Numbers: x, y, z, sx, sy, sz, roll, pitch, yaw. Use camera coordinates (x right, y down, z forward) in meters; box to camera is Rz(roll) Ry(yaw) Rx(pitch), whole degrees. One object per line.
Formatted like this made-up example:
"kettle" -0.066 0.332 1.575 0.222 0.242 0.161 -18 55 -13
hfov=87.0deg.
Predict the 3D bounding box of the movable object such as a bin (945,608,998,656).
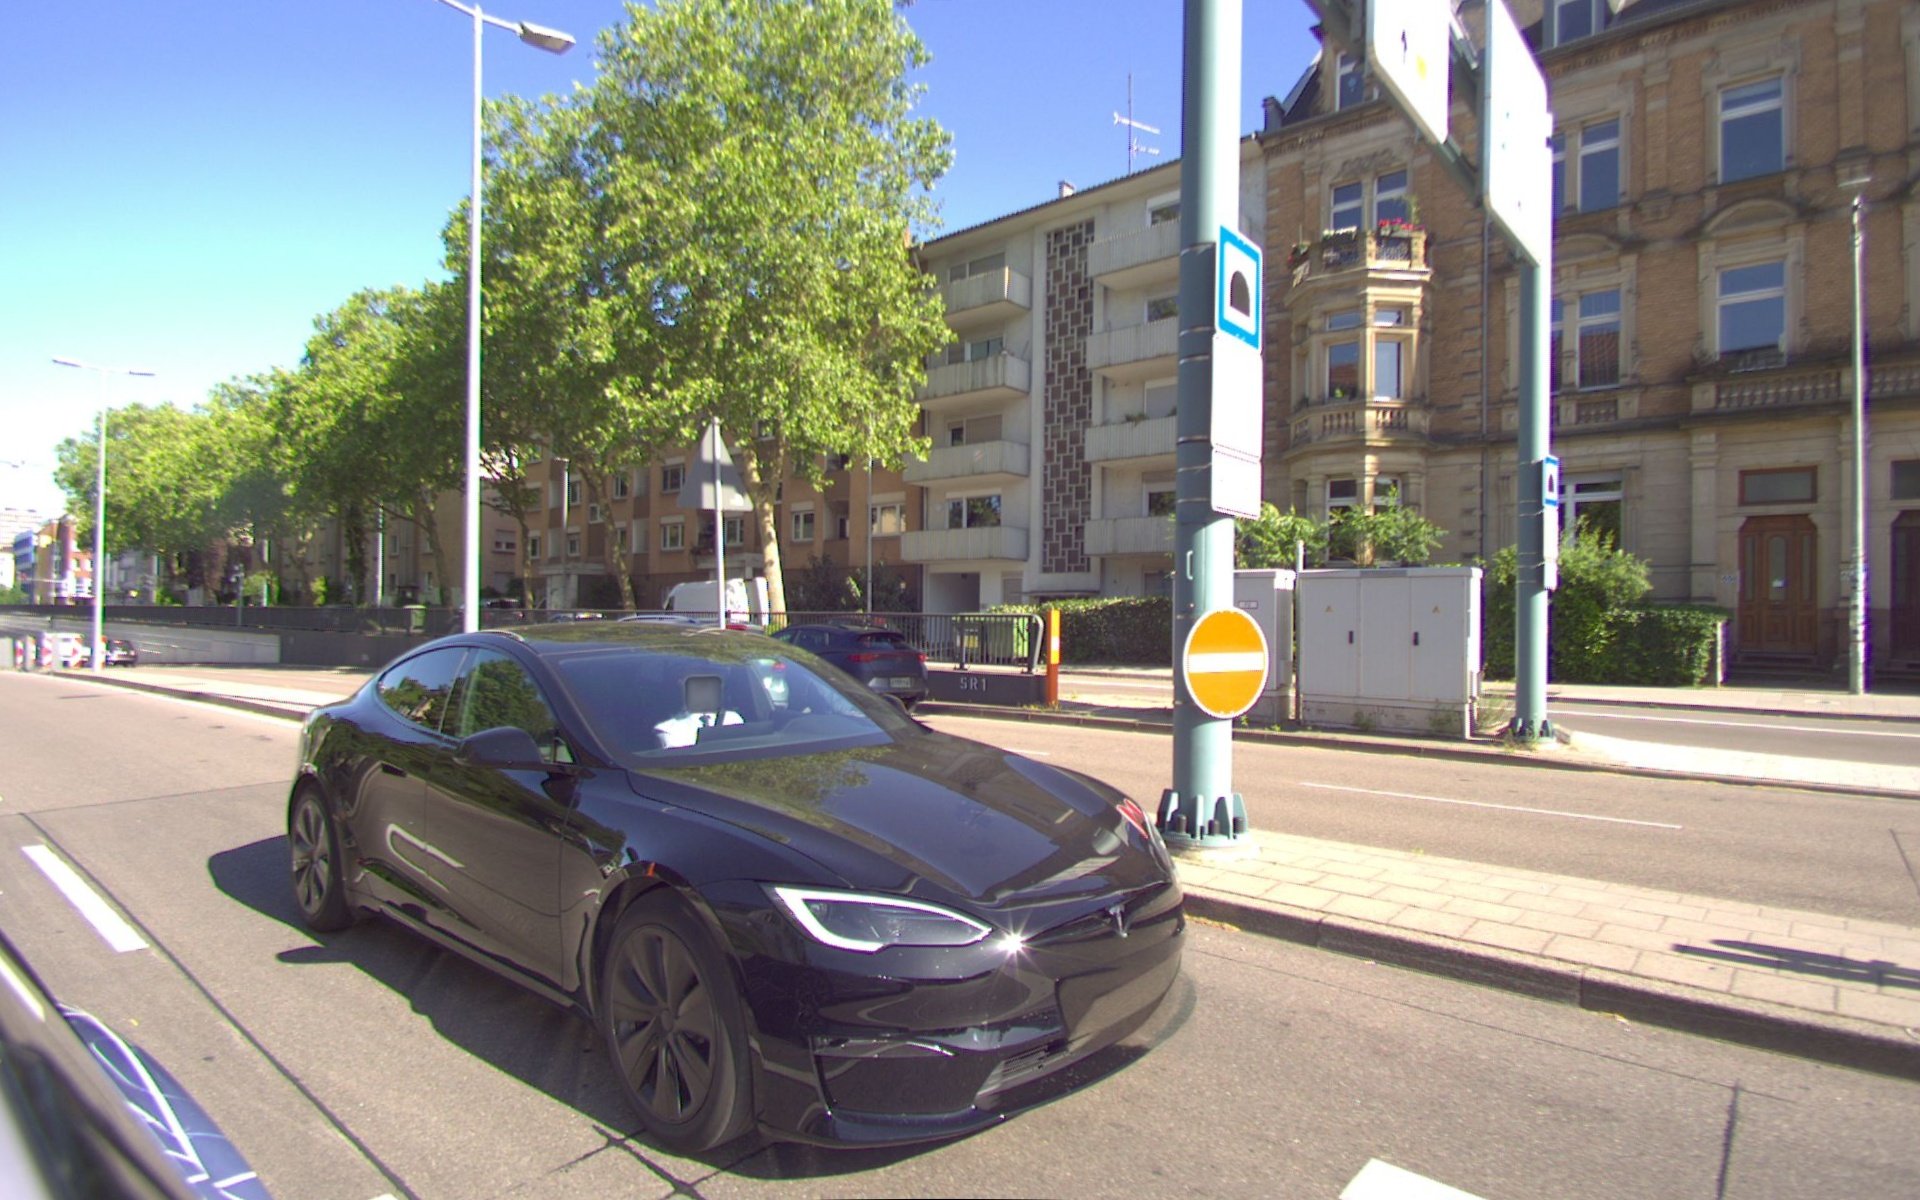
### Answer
"movable object such as a bin" 0.328 0.960 29.829 1.314 1.373 0.883 -2 -4 41

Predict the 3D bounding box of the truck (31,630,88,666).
"truck" -62.319 3.318 70.003 5.366 2.413 2.255 -2 -4 42

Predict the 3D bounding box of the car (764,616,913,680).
"car" -3.068 1.155 25.157 3.688 1.449 1.611 -2 -1 41

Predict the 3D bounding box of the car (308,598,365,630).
"car" -39.672 0.931 64.338 3.998 1.864 1.972 -2 -4 41

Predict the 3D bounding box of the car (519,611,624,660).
"car" -13.038 1.152 33.888 3.684 1.498 1.613 -1 1 38

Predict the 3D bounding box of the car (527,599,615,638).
"car" -16.965 0.845 44.044 3.999 1.592 1.972 -2 -4 42

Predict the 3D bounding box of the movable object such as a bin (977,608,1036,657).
"movable object such as a bin" 1.318 0.934 28.847 1.474 1.371 0.883 -2 -4 43

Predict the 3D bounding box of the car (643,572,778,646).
"car" -9.183 0.412 36.989 5.287 2.465 2.220 -2 -4 43

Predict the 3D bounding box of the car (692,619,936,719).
"car" -2.521 1.081 16.830 4.309 1.452 1.590 -1 -4 42

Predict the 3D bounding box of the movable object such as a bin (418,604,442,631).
"movable object such as a bin" -32.956 1.093 62.959 1.253 1.654 0.873 -2 -4 41

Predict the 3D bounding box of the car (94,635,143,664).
"car" -47.391 2.753 56.986 3.296 1.485 1.641 -1 -1 41

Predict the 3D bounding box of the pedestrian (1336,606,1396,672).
"pedestrian" 8.775 0.827 21.876 1.089 1.388 0.560 -1 -1 40

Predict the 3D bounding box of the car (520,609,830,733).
"car" -4.130 0.993 14.271 4.615 1.464 1.972 -3 -6 41

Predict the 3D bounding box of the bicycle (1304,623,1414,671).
"bicycle" 8.942 1.032 22.762 2.248 1.013 0.462 -1 0 41

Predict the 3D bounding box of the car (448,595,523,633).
"car" -23.260 0.723 49.588 3.999 1.766 1.972 -2 -2 42

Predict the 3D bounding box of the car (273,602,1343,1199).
"car" -1.051 0.743 4.256 4.623 1.422 1.905 -1 -1 41
